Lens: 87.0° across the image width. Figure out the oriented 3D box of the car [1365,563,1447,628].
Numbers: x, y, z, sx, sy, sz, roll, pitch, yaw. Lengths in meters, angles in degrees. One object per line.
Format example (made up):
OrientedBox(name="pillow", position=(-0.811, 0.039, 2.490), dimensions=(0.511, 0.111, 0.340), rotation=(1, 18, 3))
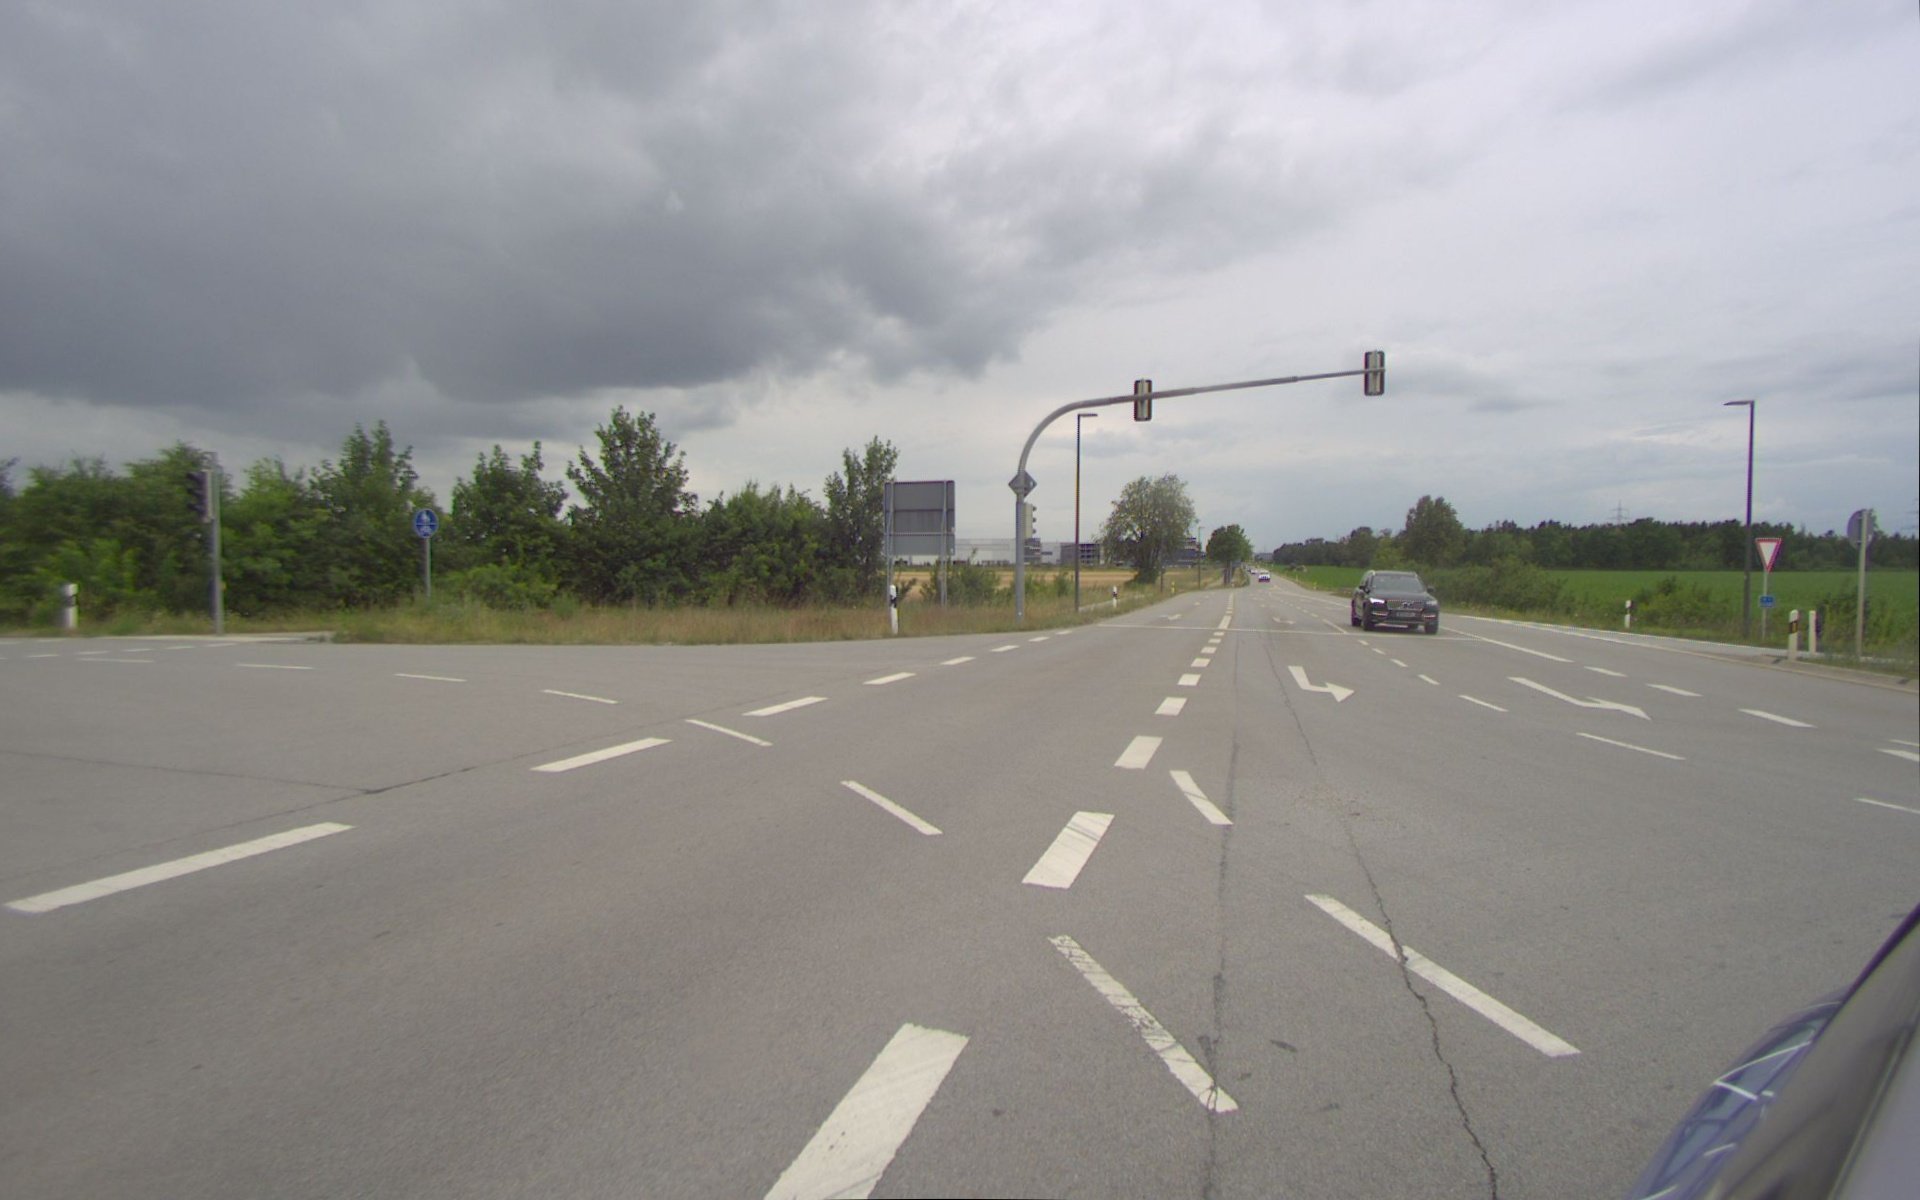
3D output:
OrientedBox(name="car", position=(13.052, -0.210, 29.855), dimensions=(1.976, 1.704, 4.964), rotation=(1, 2, 22))
